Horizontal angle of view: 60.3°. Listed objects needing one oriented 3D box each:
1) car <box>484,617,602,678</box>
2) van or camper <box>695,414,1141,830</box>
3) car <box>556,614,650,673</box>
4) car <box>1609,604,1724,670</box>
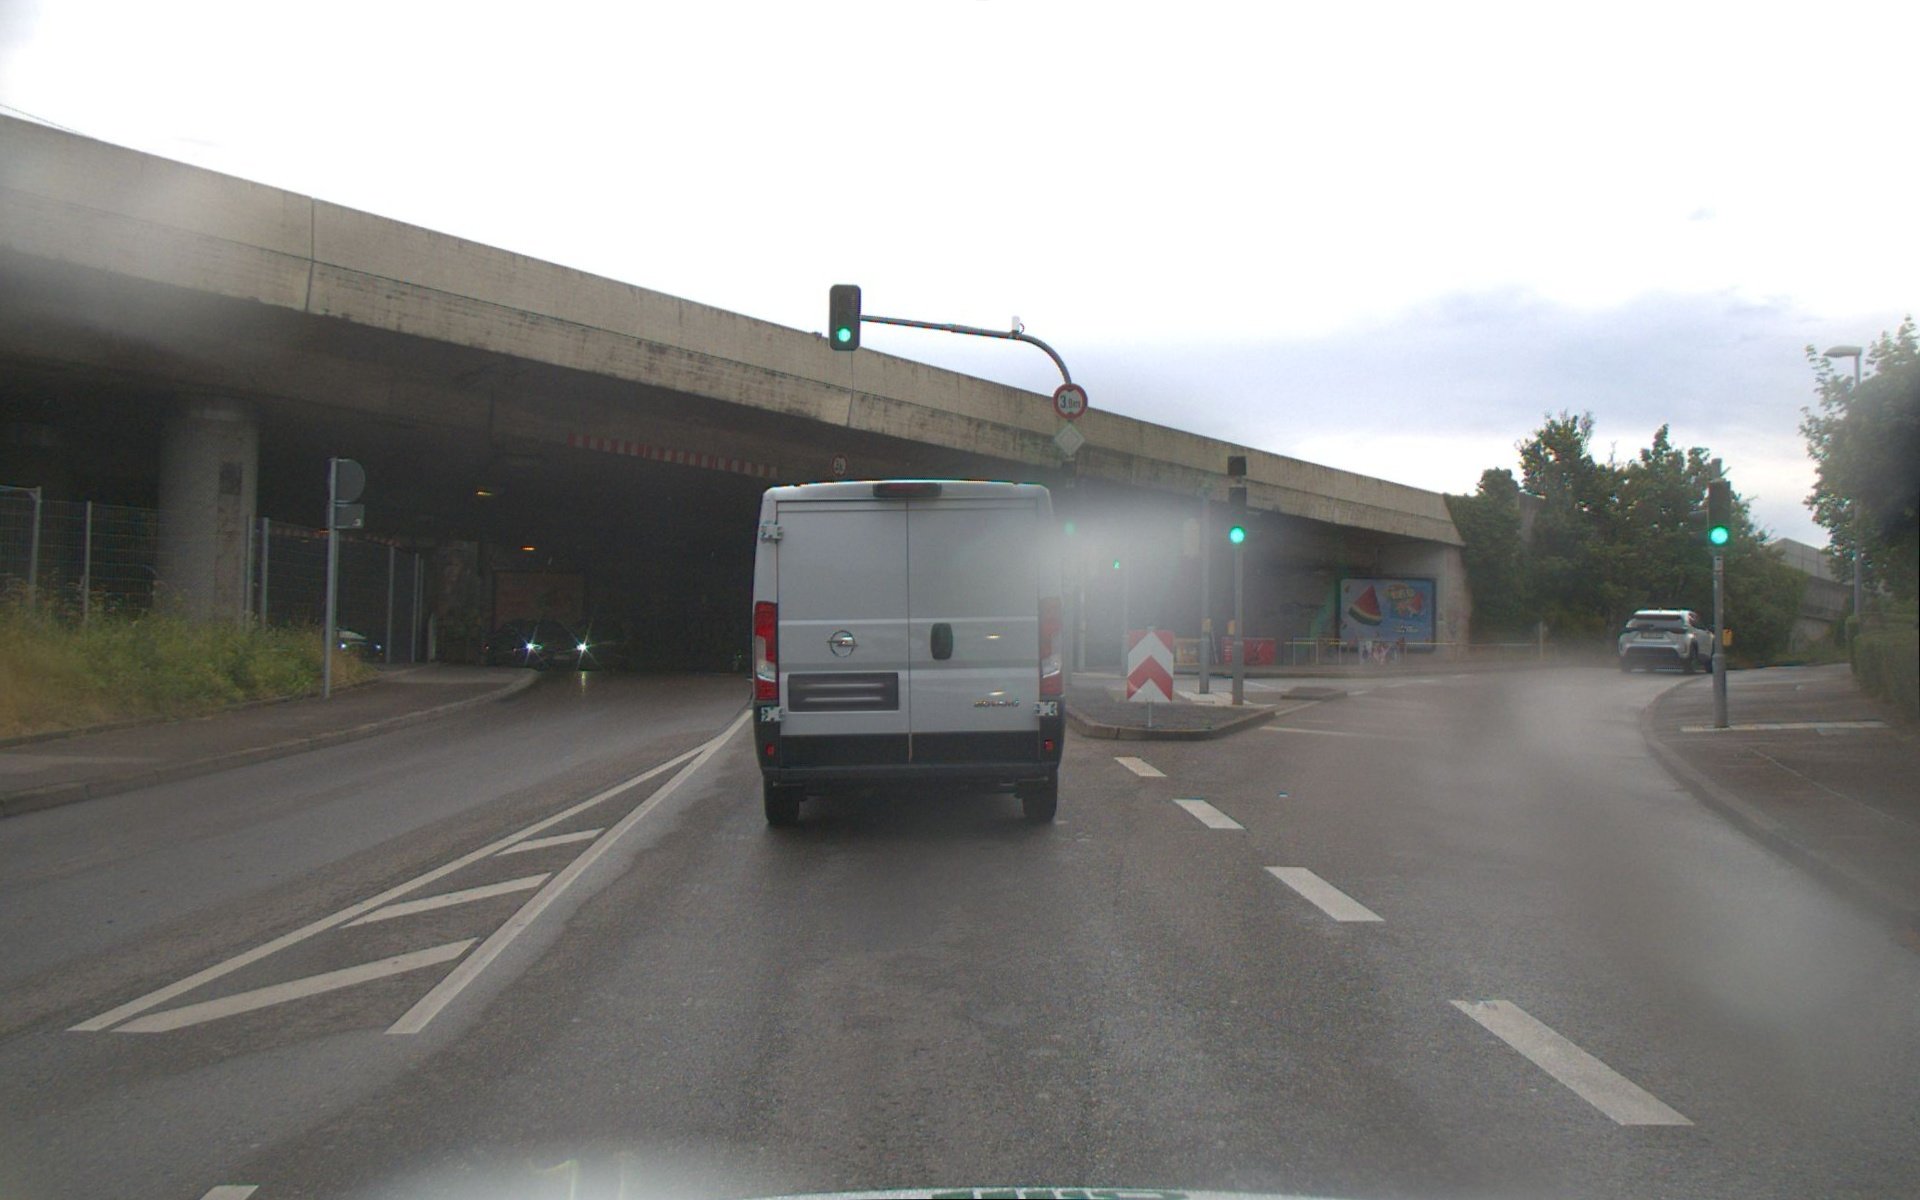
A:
[{"bbox_3d":[-11.881,1.309,46.907,1.974,1.557,4.451,2,0,-32],"label":"car"},{"bbox_3d":[-0.327,0.148,12.385,2.644,2.459,4.901,1,0,-2],"label":"van or camper"},{"bbox_3d":[-11.478,1.358,52.937,1.970,1.780,3.964,1,0,-27],"label":"car"},{"bbox_3d":[17.872,0.917,41.760,1.844,1.557,3.985,1,-1,36],"label":"car"}]
